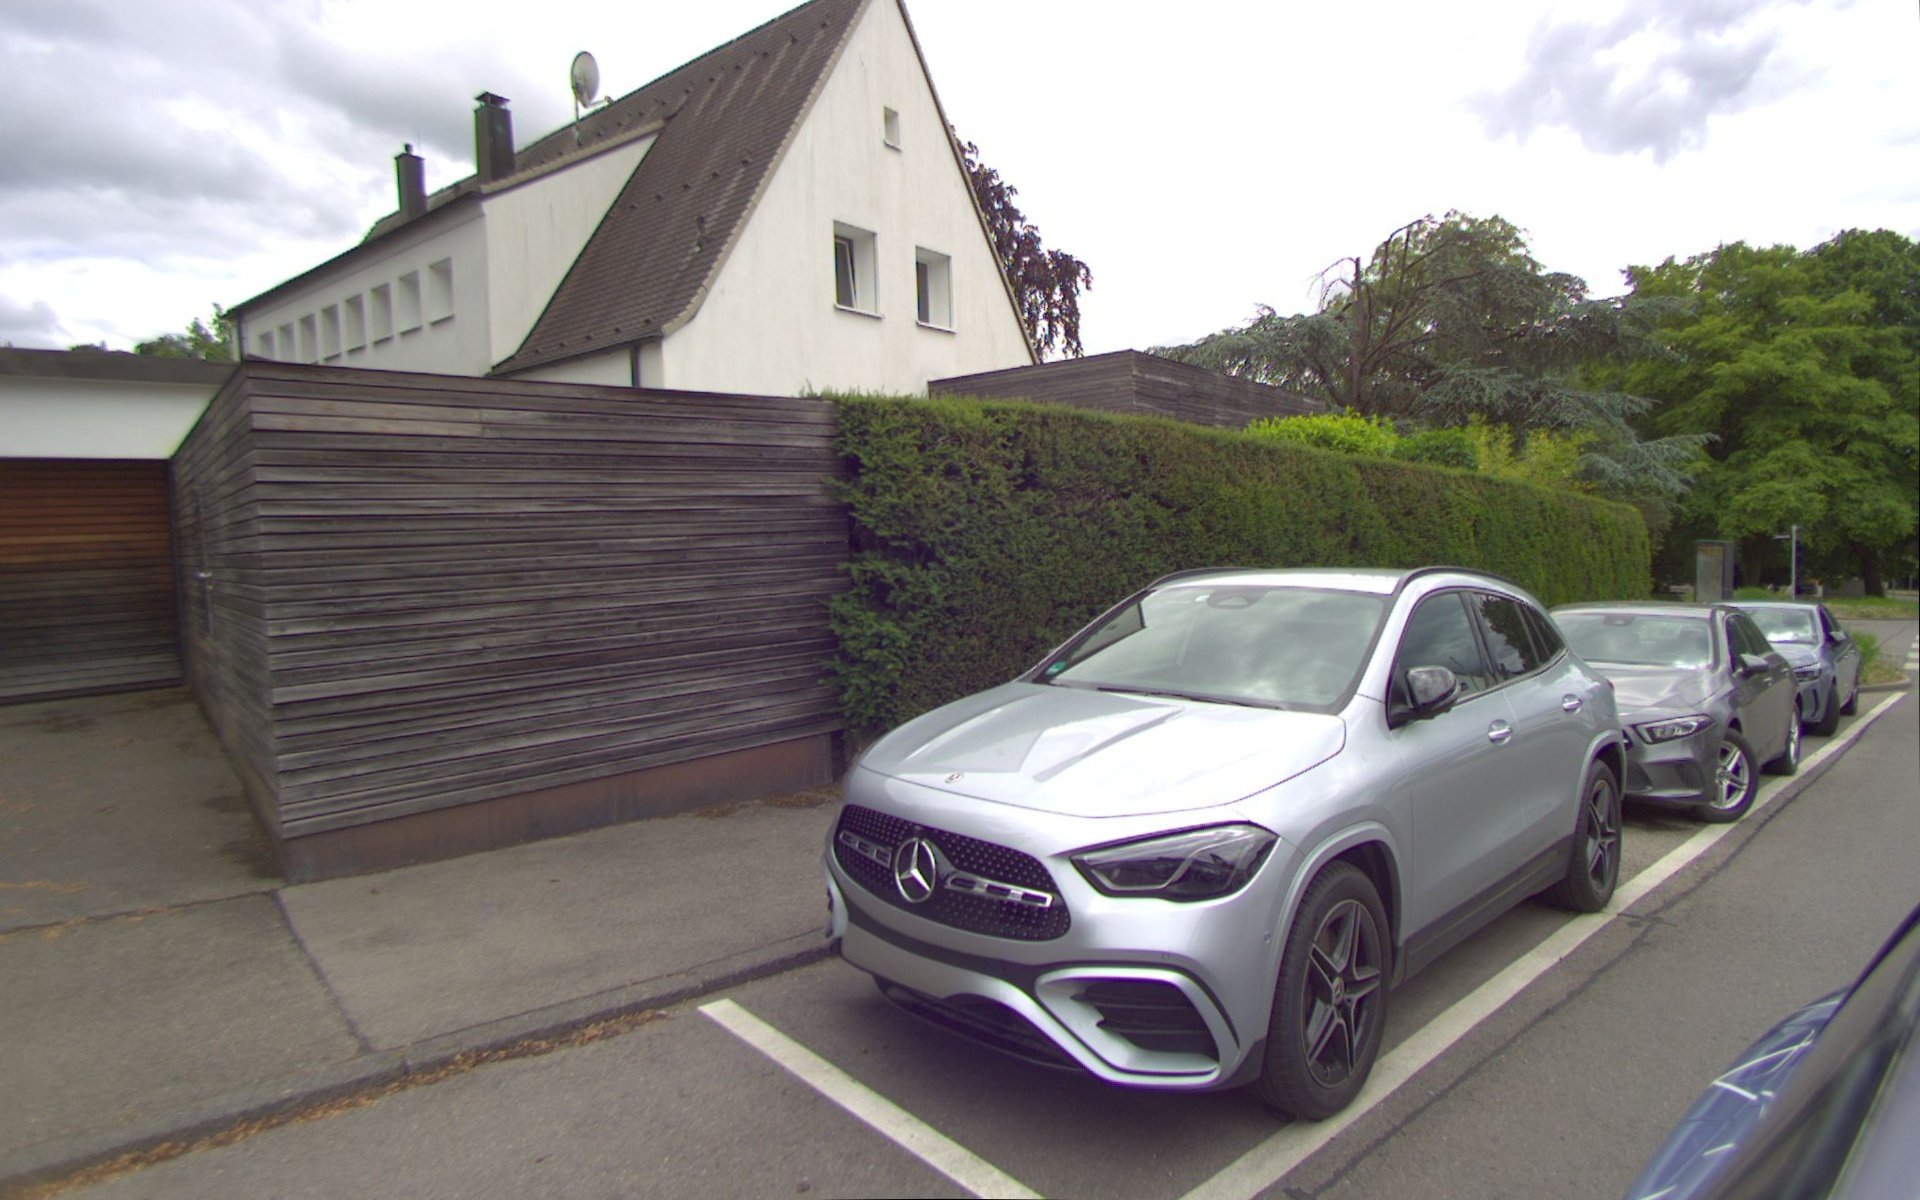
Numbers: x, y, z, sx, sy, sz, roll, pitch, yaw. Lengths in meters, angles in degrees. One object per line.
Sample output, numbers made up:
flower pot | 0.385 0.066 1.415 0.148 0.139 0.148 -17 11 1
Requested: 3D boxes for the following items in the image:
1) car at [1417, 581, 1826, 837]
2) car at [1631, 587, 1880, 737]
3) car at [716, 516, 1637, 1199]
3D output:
car | 5.393 0.596 8.019 4.103 1.482 1.856 -1 2 -44
car | 9.733 0.602 12.277 3.934 1.482 1.857 -1 2 -44
car | 1.256 0.574 4.280 4.103 1.602 1.856 -1 2 -44
